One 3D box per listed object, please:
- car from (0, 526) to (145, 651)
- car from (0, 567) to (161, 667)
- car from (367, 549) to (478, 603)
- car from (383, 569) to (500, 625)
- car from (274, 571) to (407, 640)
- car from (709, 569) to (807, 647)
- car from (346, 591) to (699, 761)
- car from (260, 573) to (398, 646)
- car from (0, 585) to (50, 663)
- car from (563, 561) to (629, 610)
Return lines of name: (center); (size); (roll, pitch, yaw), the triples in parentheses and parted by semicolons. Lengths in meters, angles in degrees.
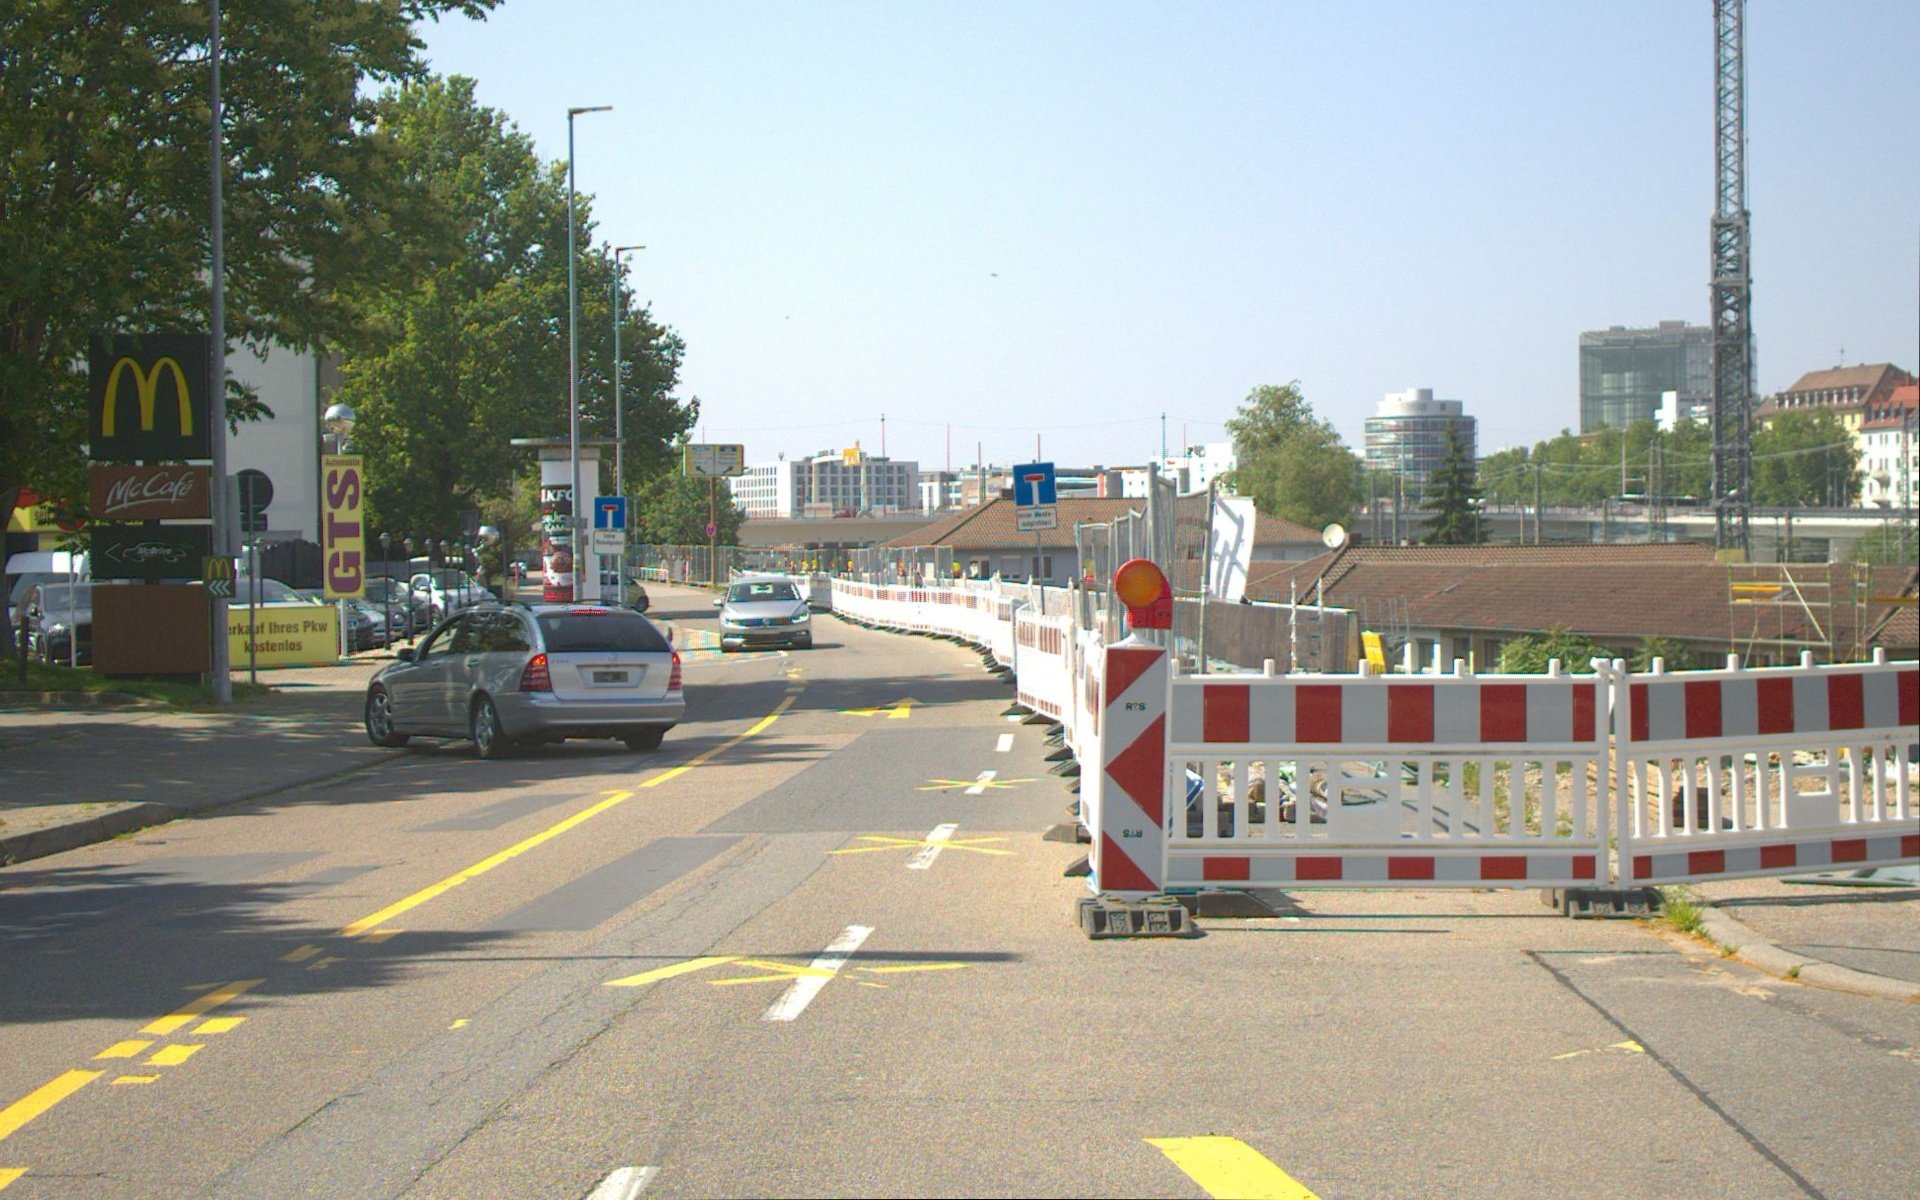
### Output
car: (-20.857, -0.251, 79.483); (2.277, 2.748, 6.152); (-2, 0, 2)
car: (-16.509, 0.335, 64.227); (2.042, 1.701, 4.315); (-2, -1, -27)
car: (-19.775, -0.883, 126.374); (3.922, 1.952, 1.760); (0, 0, -12)
car: (-14.915, -0.081, 98.766); (1.776, 1.468, 4.000); (-4, 2, -33)
car: (-14.791, 0.139, 81.944); (1.780, 1.468, 4.000); (-4, 1, -30)
car: (-4.151, 0.131, 70.054); (1.677, 1.488, 4.607); (-2, 1, -7)
car: (-4.167, 0.671, 32.164); (1.708, 1.399, 4.387); (-3, 1, -29)
car: (-14.057, 0.221, 76.449); (1.836, 1.468, 4.000); (-4, 1, -28)
car: (-20.786, 0.531, 71.463); (1.909, 1.569, 4.686); (-1, 1, 8)
car: (-12.121, -0.506, 114.771); (1.869, 1.493, 4.032); (-2, 2, -2)
